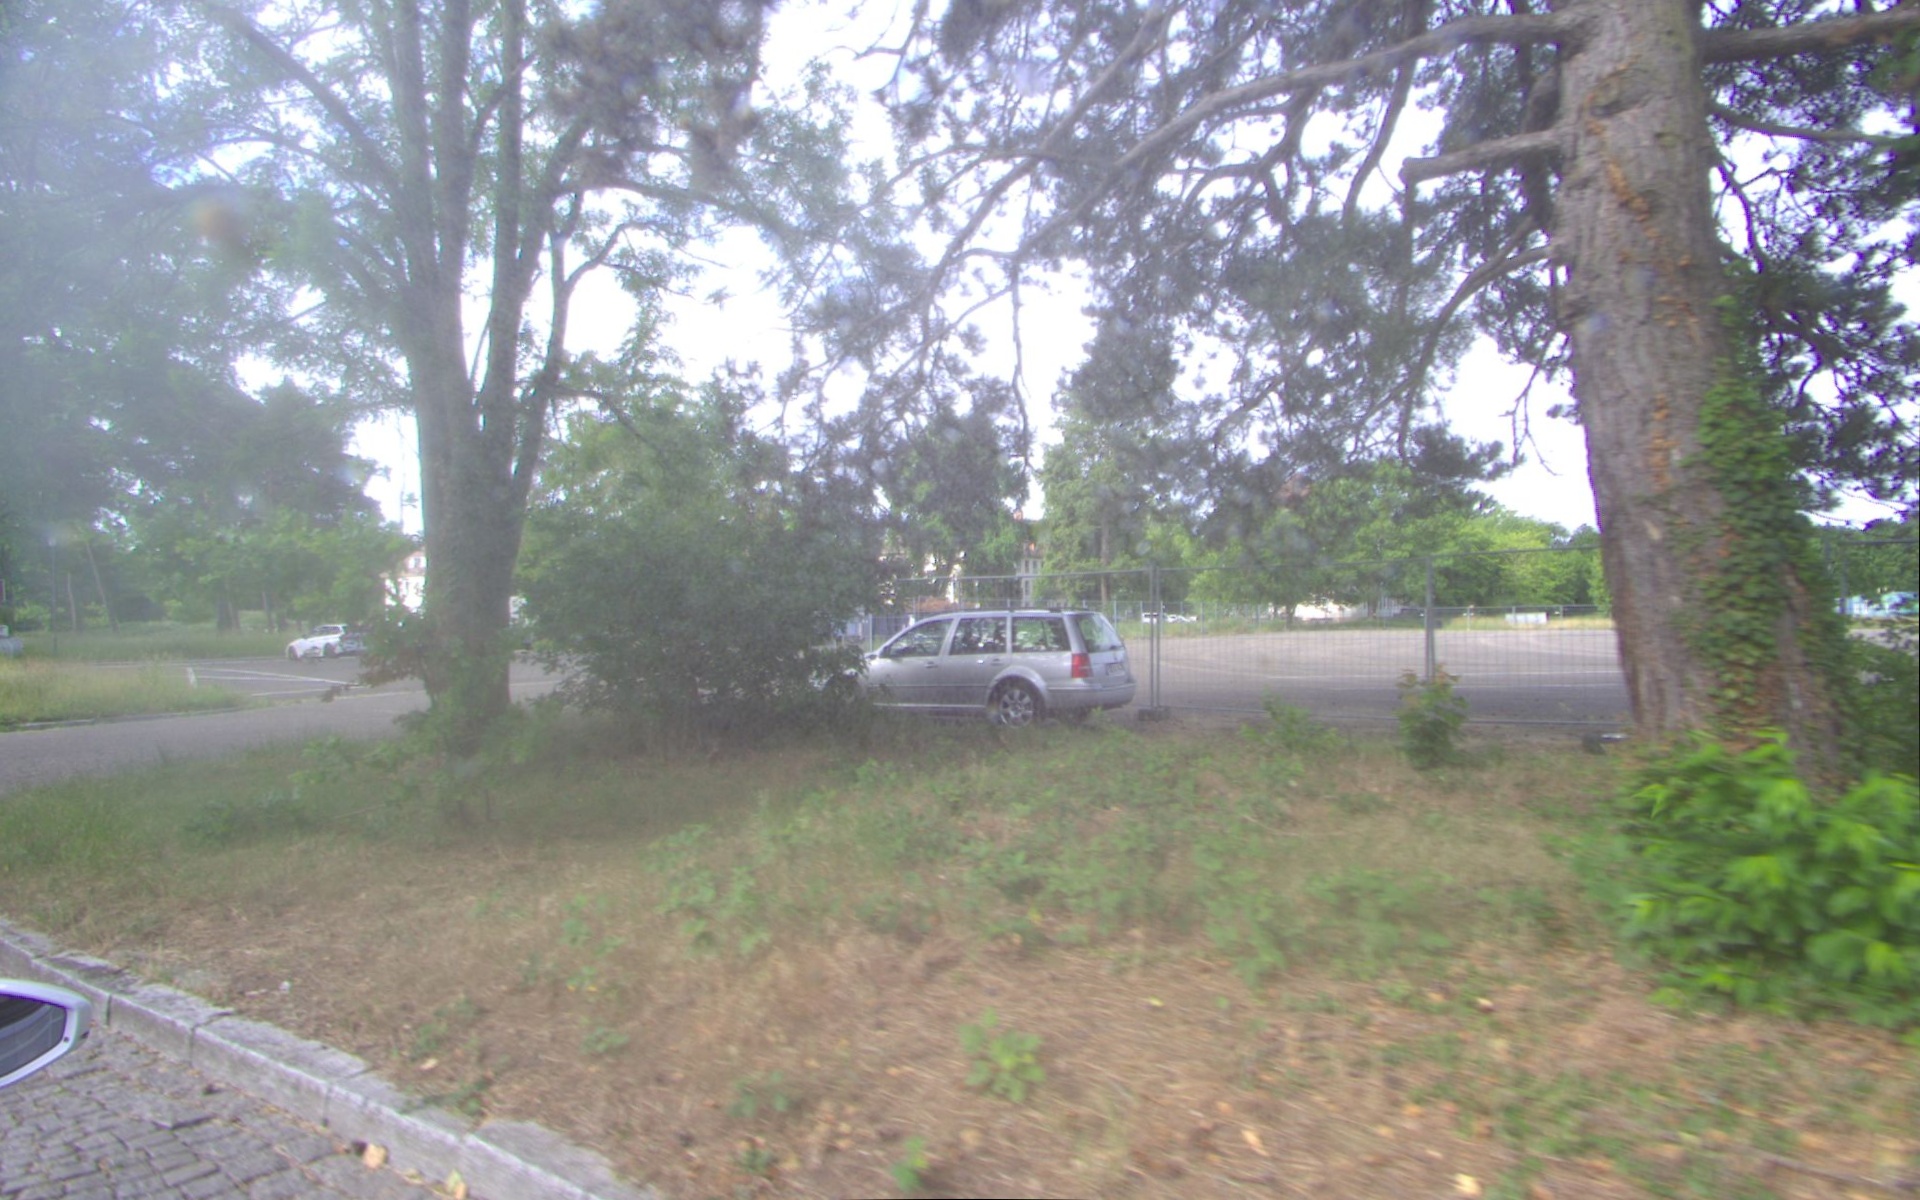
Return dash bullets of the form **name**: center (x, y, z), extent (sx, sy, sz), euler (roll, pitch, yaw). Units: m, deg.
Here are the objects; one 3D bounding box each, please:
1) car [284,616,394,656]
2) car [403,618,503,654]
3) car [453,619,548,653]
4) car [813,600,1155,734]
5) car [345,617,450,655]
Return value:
- **car**: center (-25.614, 1.487, 41.270), extent (4.359, 1.500, 1.991), euler (-3, -1, 29)
- **car**: center (-23.258, 1.673, 45.911), extent (4.359, 1.500, 1.991), euler (-3, -1, 29)
- **car**: center (-22.238, 1.753, 48.424), extent (4.359, 1.542, 1.992), euler (-3, -3, 29)
- **car**: center (0.250, 0.807, 12.567), extent (4.014, 1.444, 1.645), euler (-1, -3, 31)
- **car**: center (-24.429, 1.576, 43.496), extent (4.359, 1.500, 1.991), euler (-3, -1, 29)
